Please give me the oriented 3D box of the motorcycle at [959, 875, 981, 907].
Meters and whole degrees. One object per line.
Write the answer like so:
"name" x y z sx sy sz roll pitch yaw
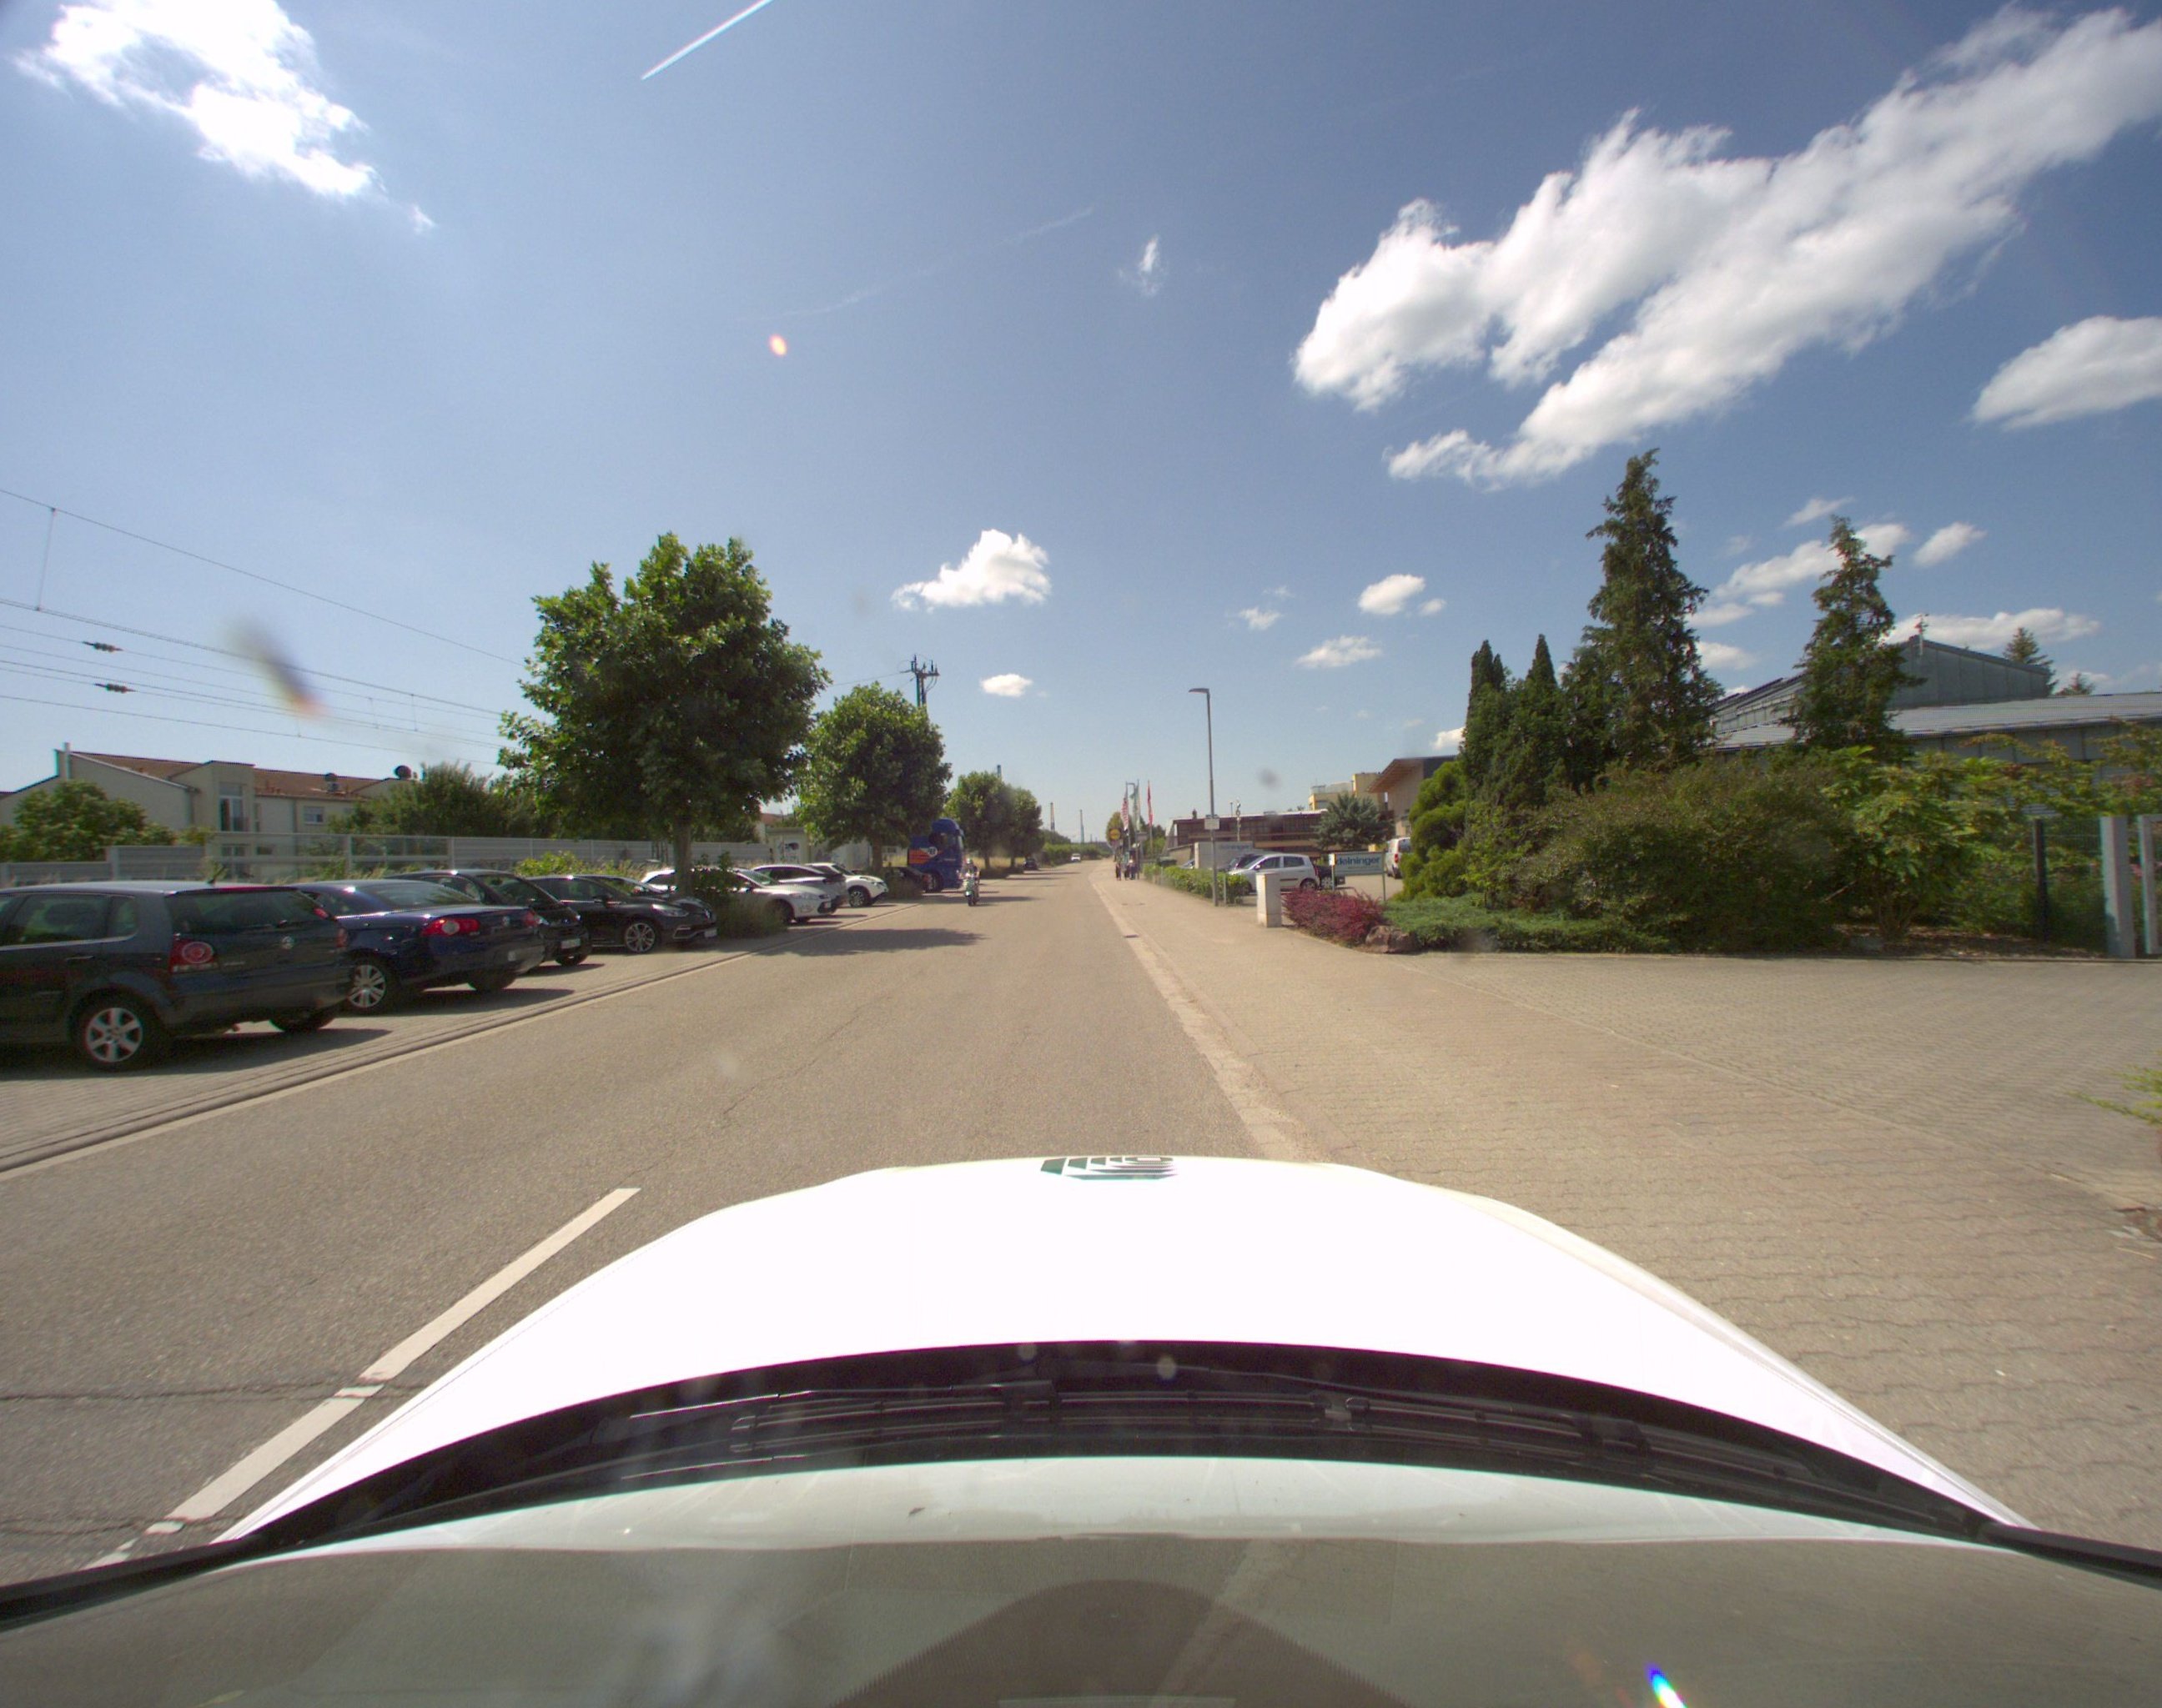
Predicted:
"motorcycle" -3.887 1.297 28.714 0.461 1.051 1.955 -2 -1 0

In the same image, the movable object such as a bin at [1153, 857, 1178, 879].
"movable object such as a bin" 5.615 0.931 54.346 1.273 1.458 1.037 -1 -1 -38

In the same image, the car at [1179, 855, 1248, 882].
"car" 7.907 0.845 48.968 3.832 1.455 1.817 -2 0 0

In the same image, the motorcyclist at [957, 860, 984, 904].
"motorcyclist" -3.895 0.970 28.786 0.773 1.509 0.921 -2 -1 0

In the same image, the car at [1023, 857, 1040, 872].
"car" -6.076 1.293 100.219 1.736 1.596 3.578 -4 0 0

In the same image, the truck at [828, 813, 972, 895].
"truck" -9.082 0.005 41.374 6.597 3.823 2.662 -2 -1 -2

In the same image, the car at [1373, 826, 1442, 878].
"car" 15.184 -0.089 38.161 2.086 2.125 4.732 -5 -1 12

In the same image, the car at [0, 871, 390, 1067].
"car" -8.580 0.914 7.054 3.656 1.448 1.683 -1 0 -2

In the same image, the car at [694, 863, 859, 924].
"car" -8.657 1.108 23.444 3.977 1.548 1.998 -2 -1 -2

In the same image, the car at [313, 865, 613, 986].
"car" -9.117 1.012 12.218 3.180 1.538 1.601 -2 -1 -2

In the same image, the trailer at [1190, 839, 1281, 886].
"trailer" 7.331 0.406 38.977 3.973 2.014 2.000 -2 -1 1

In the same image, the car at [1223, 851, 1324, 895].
"car" 7.111 0.686 30.359 3.339 1.401 1.771 -3 0 3

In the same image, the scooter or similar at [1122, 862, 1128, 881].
"scooter or similar" 2.968 1.177 54.508 0.333 1.198 0.397 -3 -3 0

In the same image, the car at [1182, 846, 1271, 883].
"car" 7.483 0.568 42.170 4.201 1.634 1.799 -3 -2 -2

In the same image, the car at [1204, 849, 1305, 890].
"car" 7.674 0.694 36.229 4.028 1.574 1.710 -3 -2 -6

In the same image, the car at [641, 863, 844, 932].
"car" -8.513 1.071 20.775 4.325 1.533 1.925 -2 0 -1

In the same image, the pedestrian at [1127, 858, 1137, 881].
"pedestrian" 3.431 1.029 54.434 0.533 1.540 0.510 -3 -3 -1

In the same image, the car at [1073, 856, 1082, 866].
"car" -0.724 1.479 170.181 1.832 1.858 4.484 -2 0 1

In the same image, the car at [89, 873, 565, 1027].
"car" -8.520 1.040 9.444 3.927 1.450 1.789 -2 -1 4

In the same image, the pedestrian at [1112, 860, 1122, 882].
"pedestrian" 2.422 1.127 54.508 0.563 1.405 0.583 -3 -3 -1

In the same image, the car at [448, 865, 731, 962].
"car" -8.908 1.041 15.026 4.060 1.472 1.786 -3 -1 0

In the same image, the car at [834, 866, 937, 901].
"car" -8.786 1.303 36.957 4.198 1.395 1.870 -2 -1 -2

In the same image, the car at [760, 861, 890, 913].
"car" -8.921 1.119 28.682 3.962 1.618 1.848 -2 0 -4

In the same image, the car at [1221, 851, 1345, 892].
"car" 8.063 0.691 32.763 4.465 1.440 1.812 -2 0 -4
